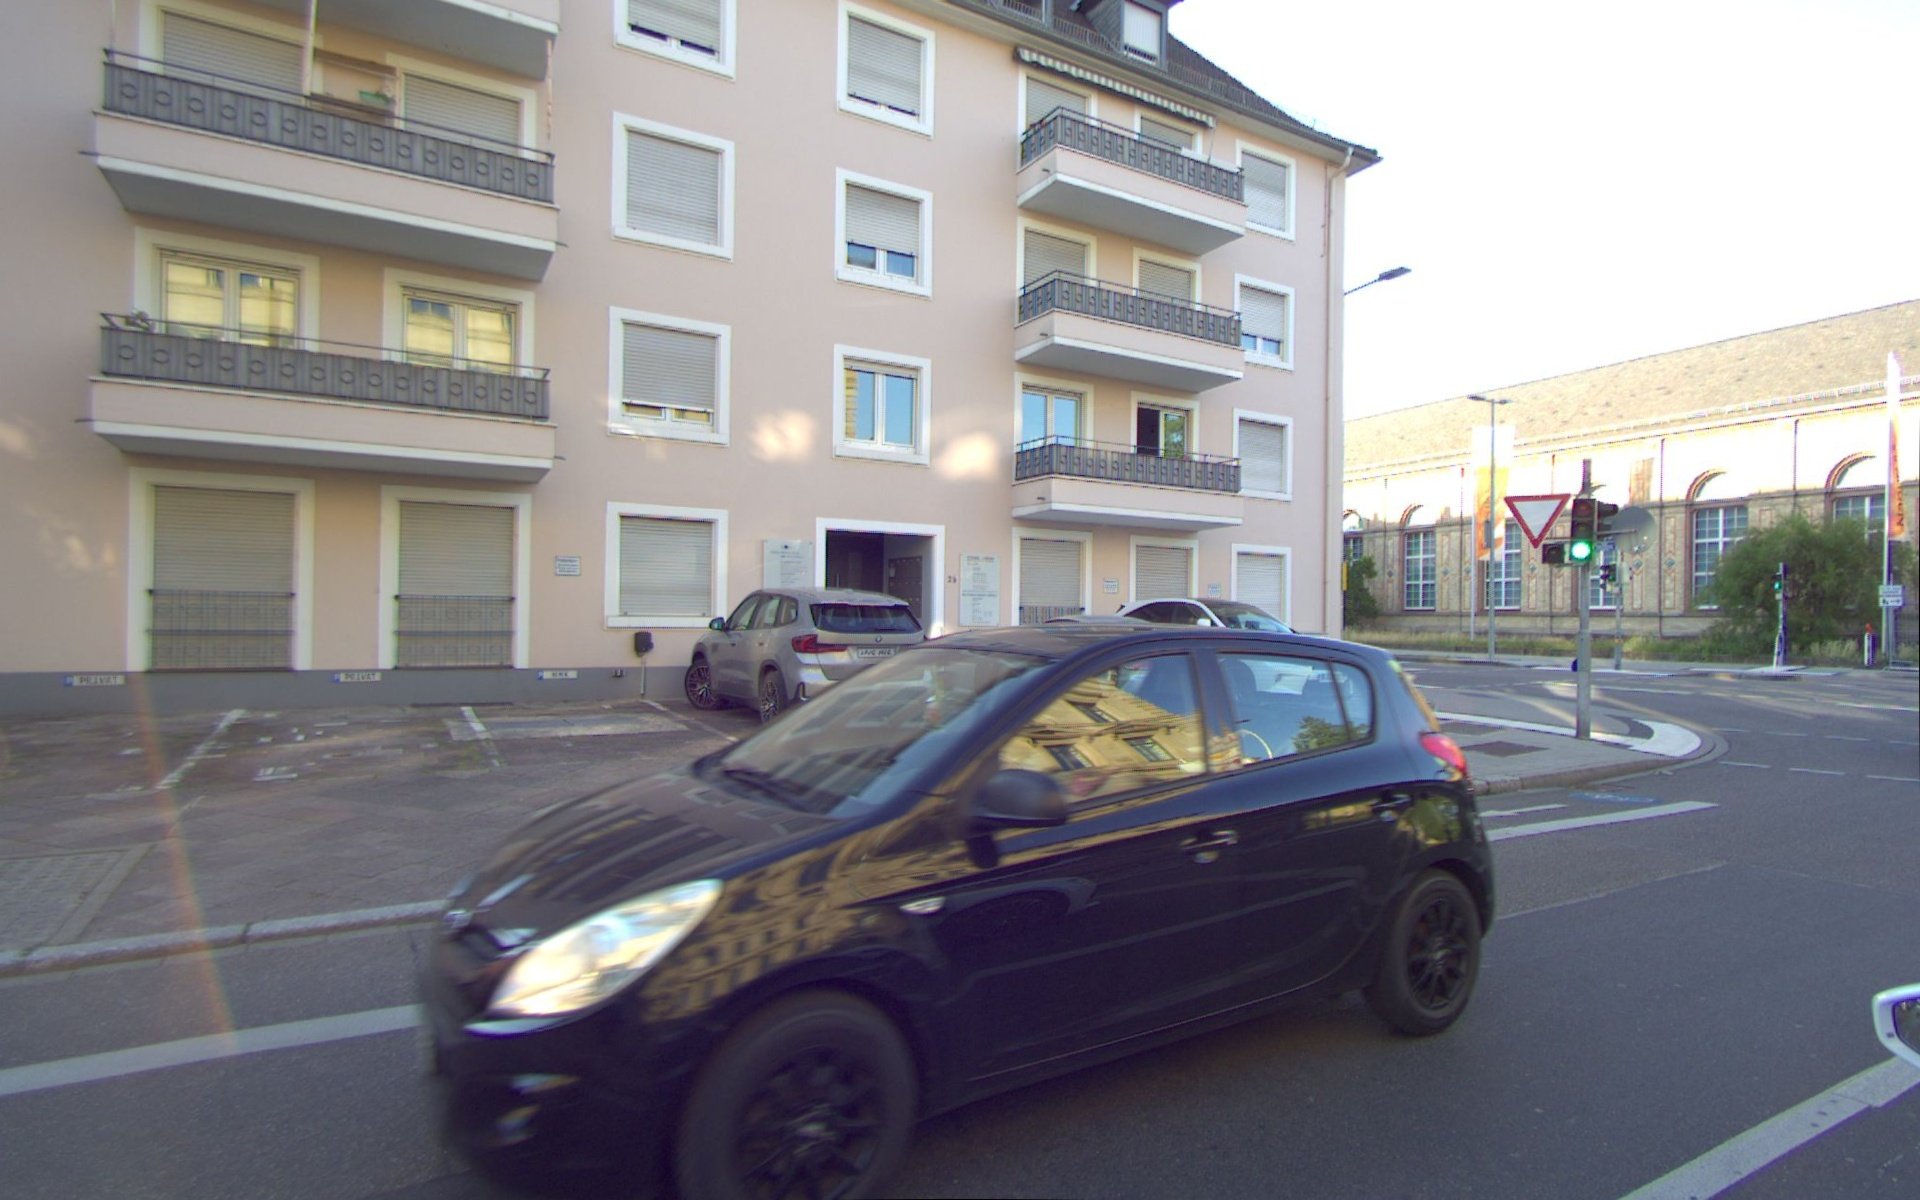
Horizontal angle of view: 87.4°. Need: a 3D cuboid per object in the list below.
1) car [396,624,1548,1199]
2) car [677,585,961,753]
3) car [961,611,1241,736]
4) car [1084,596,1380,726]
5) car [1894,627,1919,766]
[{"bbox_3d":[0.177,0.853,3.586,3.807,1.491,1.650,0,-1,-30],"label":"car"},{"bbox_3d":[-1.939,0.672,12.362,1.894,1.627,4.395,1,1,-31],"label":"car"},{"bbox_3d":[1.850,0.927,14.512,1.716,1.399,4.244,1,1,-31],"label":"car"},{"bbox_3d":[4.103,0.830,15.923,1.920,1.663,4.417,1,1,-31],"label":"car"},{"bbox_3d":[13.219,1.073,11.506,4.776,1.566,1.827,0,-2,-22],"label":"car"}]
